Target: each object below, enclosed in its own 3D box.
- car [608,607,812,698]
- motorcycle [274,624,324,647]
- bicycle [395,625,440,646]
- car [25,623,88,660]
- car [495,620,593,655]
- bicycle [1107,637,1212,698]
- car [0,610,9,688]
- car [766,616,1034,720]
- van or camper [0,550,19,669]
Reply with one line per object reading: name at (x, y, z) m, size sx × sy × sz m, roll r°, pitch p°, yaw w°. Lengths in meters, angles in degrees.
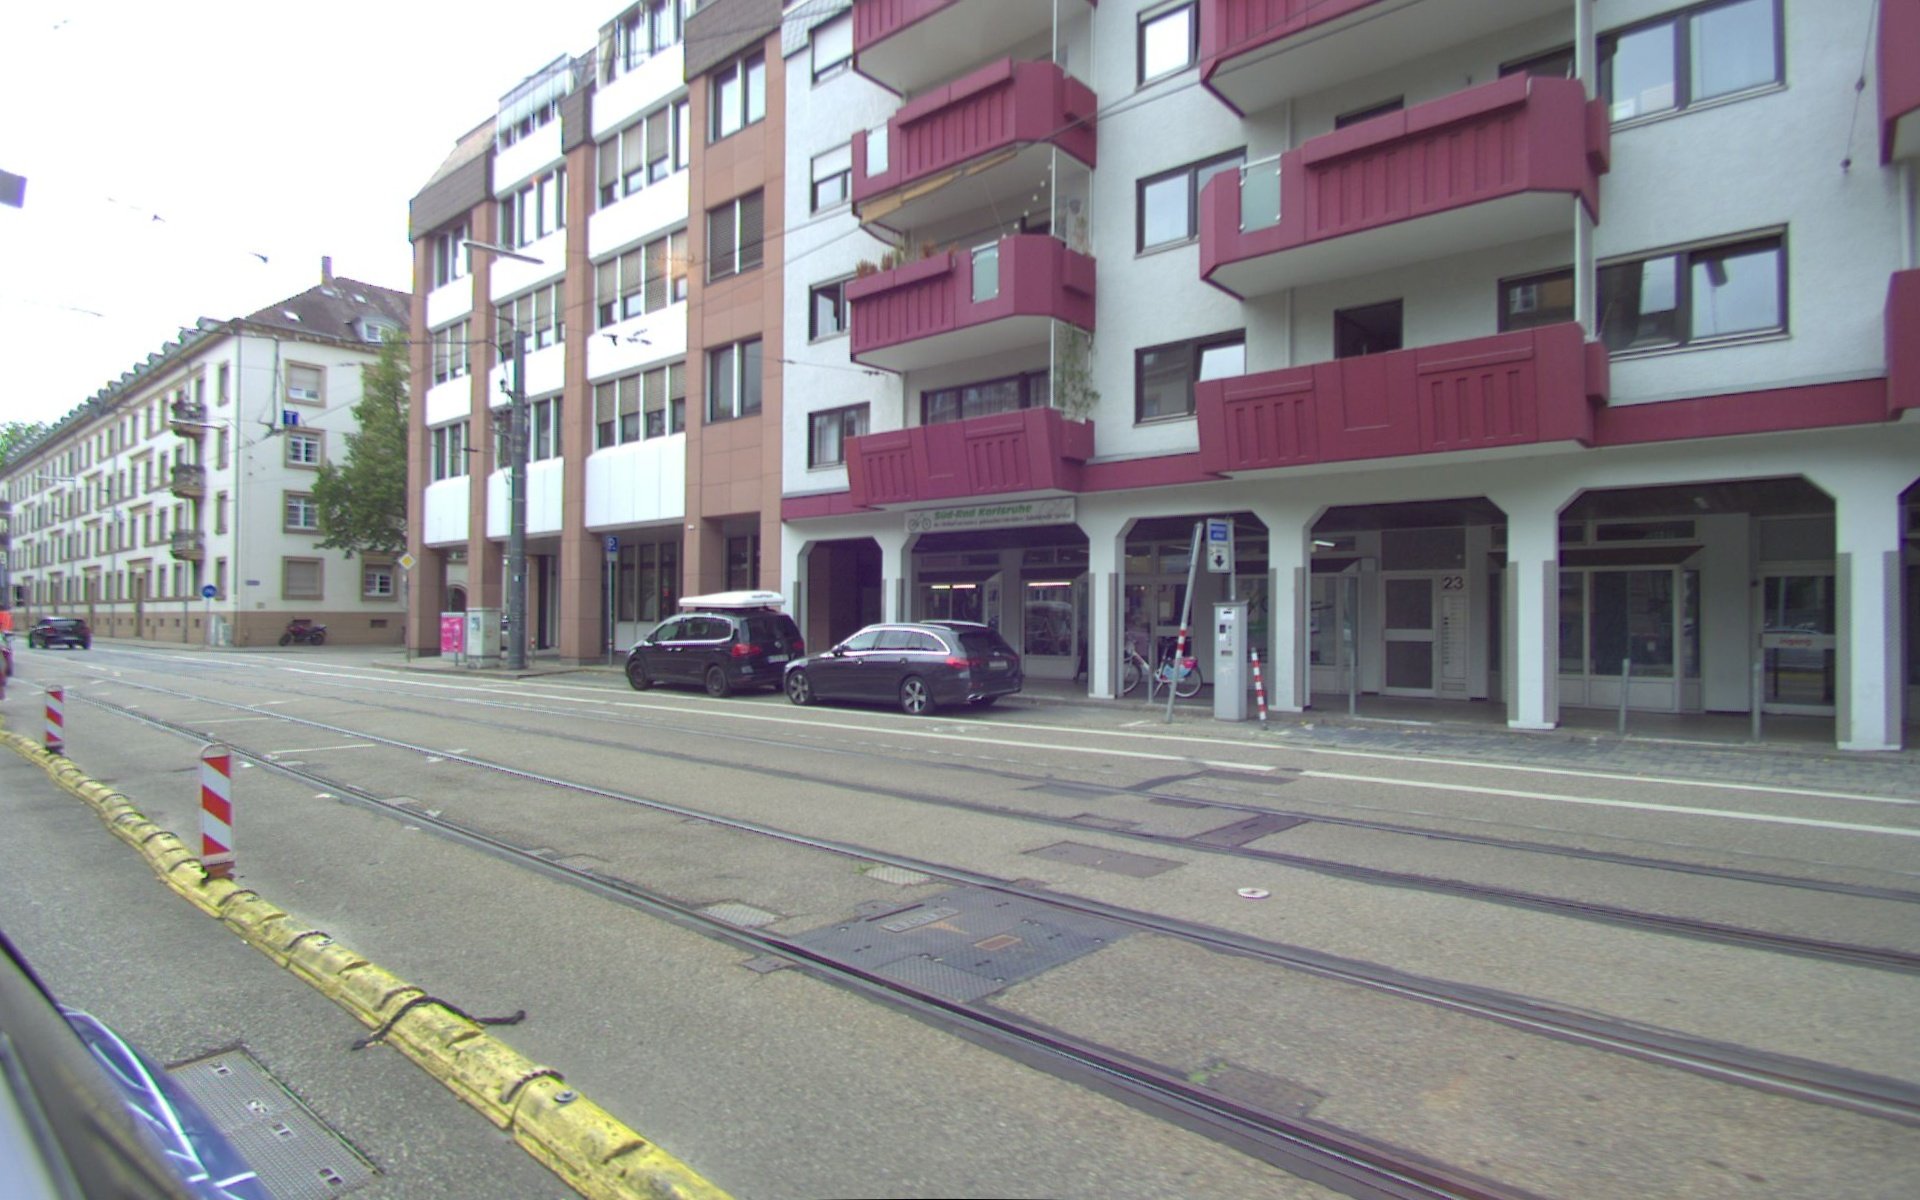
car at (-5.325, 1.018, 21.185) m, size 4.696 × 1.659 × 1.788 m, roll -1°, pitch 0°, yaw 42°
motorcycle at (-31.935, 1.699, 48.903) m, size 0.793 × 1.094 × 1.899 m, roll -1°, pitch -2°, yaw 41°
bicycle at (-28.492, 1.847, 53.170) m, size 0.793 × 1.094 × 1.899 m, roll -1°, pitch -2°, yaw 41°
car at (-40.996, 1.851, 45.877) m, size 4.048 × 1.549 × 1.750 m, roll -1°, pitch 0°, yaw 43°
car at (-17.662, 1.565, 43.102) m, size 1.607 × 1.399 × 3.609 m, roll -1°, pitch -2°, yaw 32°
bicycle at (3.323, 1.104, 16.948) m, size 1.646 × 0.960 × 0.559 m, roll -1°, pitch -2°, yaw 35°
car at (-20.035, 1.005, 19.736) m, size 1.746 × 1.603 × 4.291 m, roll -1°, pitch 0°, yaw -38°
car at (-1.140, 1.054, 17.214) m, size 4.696 × 1.491 × 1.736 m, roll -1°, pitch 0°, yaw 42°
van or camper at (-32.093, 0.329, 31.864) m, size 9.647 × 3.447 × 2.573 m, roll -1°, pitch -2°, yaw 41°
